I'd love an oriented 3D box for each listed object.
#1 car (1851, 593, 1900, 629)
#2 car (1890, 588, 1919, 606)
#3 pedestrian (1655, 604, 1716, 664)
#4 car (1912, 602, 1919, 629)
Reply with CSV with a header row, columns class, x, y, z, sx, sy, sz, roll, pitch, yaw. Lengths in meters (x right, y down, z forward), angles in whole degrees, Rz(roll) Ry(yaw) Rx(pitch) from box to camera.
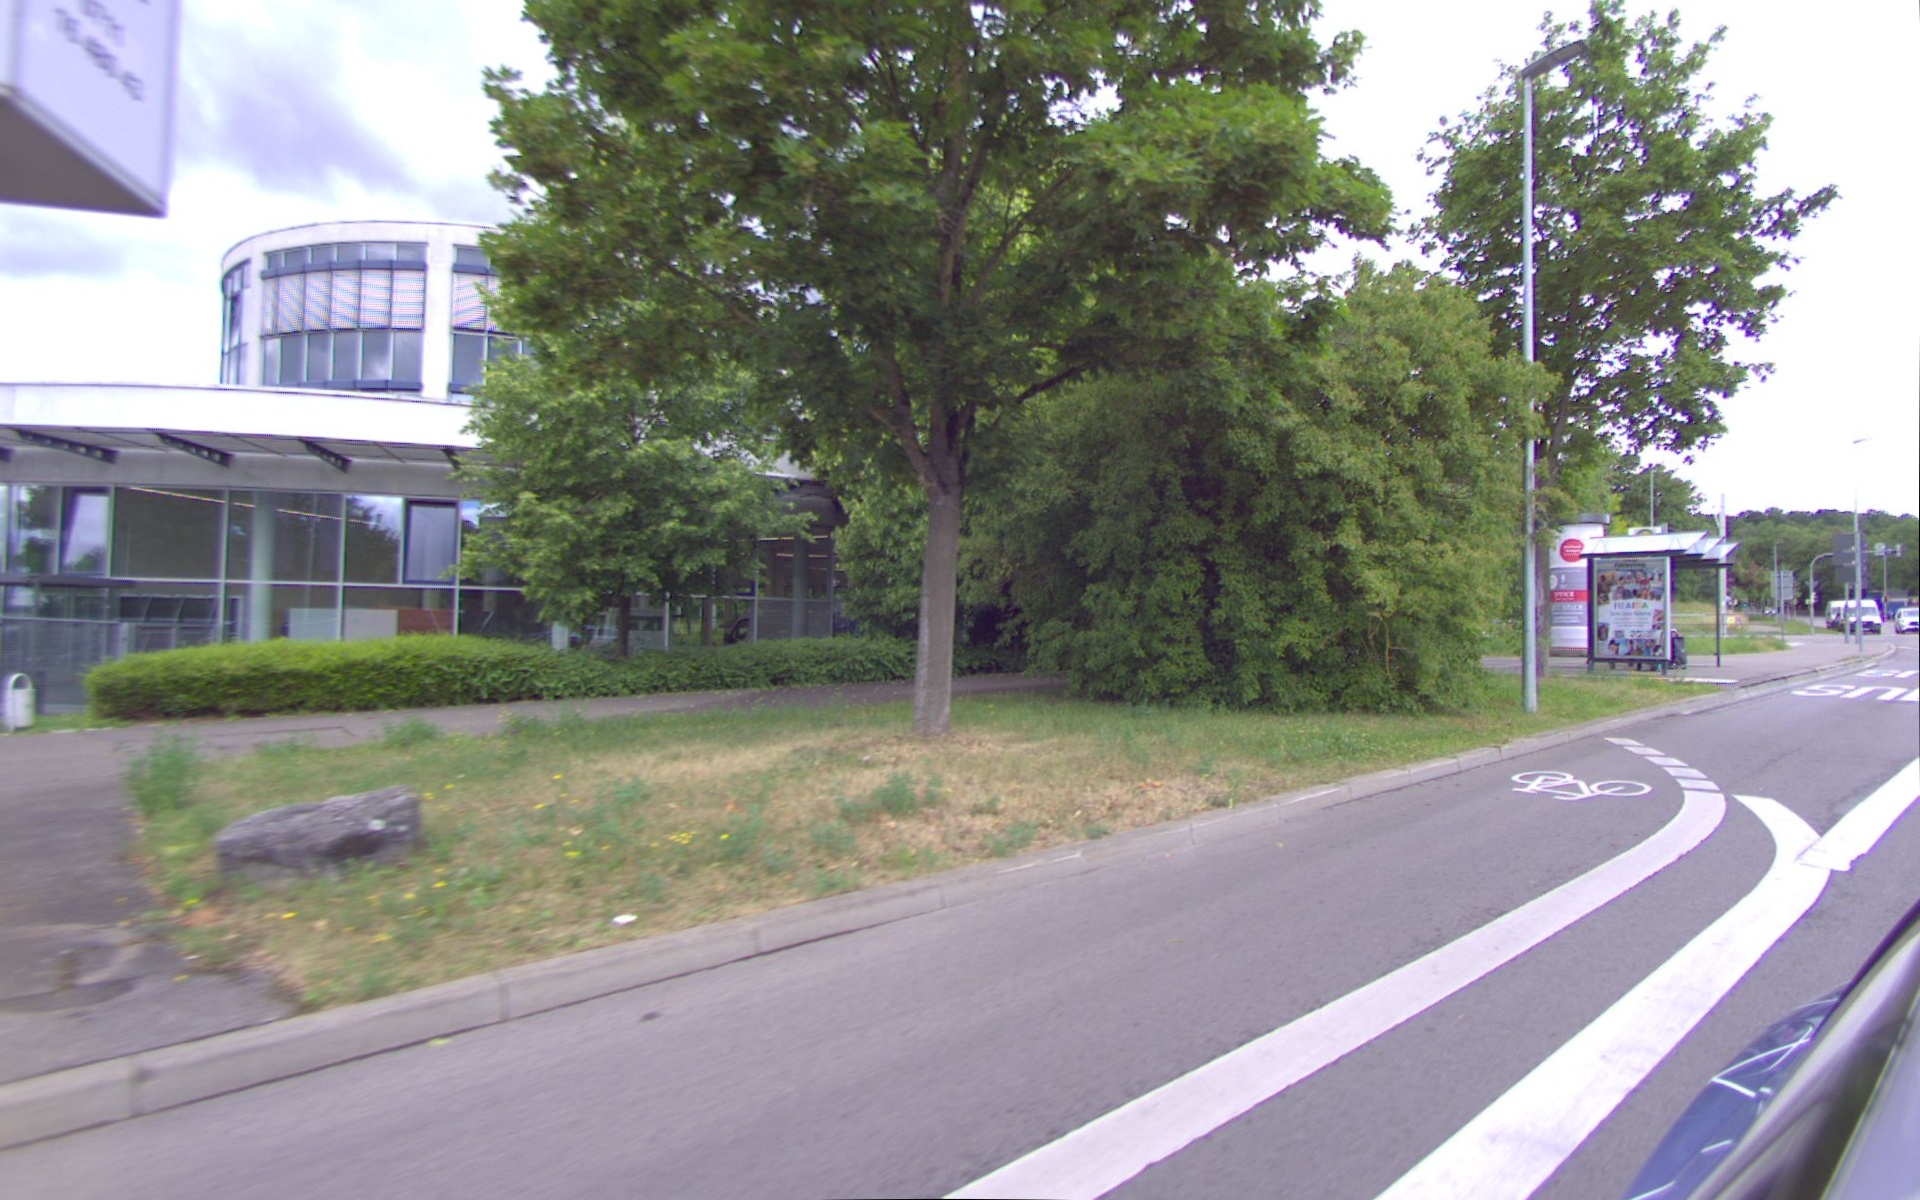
class,x,y,z,sx,sy,sz,roll,pitch,yaw
car,70.953,0.887,78.489,2.215,2.693,5.879,-3,-2,37
car,120.432,-0.371,128.862,2.291,2.040,4.758,-2,-2,34
pedestrian,15.735,0.727,21.959,0.763,1.269,0.771,-1,-1,7
car,73.428,1.107,76.467,2.113,2.017,4.909,-4,-3,43
